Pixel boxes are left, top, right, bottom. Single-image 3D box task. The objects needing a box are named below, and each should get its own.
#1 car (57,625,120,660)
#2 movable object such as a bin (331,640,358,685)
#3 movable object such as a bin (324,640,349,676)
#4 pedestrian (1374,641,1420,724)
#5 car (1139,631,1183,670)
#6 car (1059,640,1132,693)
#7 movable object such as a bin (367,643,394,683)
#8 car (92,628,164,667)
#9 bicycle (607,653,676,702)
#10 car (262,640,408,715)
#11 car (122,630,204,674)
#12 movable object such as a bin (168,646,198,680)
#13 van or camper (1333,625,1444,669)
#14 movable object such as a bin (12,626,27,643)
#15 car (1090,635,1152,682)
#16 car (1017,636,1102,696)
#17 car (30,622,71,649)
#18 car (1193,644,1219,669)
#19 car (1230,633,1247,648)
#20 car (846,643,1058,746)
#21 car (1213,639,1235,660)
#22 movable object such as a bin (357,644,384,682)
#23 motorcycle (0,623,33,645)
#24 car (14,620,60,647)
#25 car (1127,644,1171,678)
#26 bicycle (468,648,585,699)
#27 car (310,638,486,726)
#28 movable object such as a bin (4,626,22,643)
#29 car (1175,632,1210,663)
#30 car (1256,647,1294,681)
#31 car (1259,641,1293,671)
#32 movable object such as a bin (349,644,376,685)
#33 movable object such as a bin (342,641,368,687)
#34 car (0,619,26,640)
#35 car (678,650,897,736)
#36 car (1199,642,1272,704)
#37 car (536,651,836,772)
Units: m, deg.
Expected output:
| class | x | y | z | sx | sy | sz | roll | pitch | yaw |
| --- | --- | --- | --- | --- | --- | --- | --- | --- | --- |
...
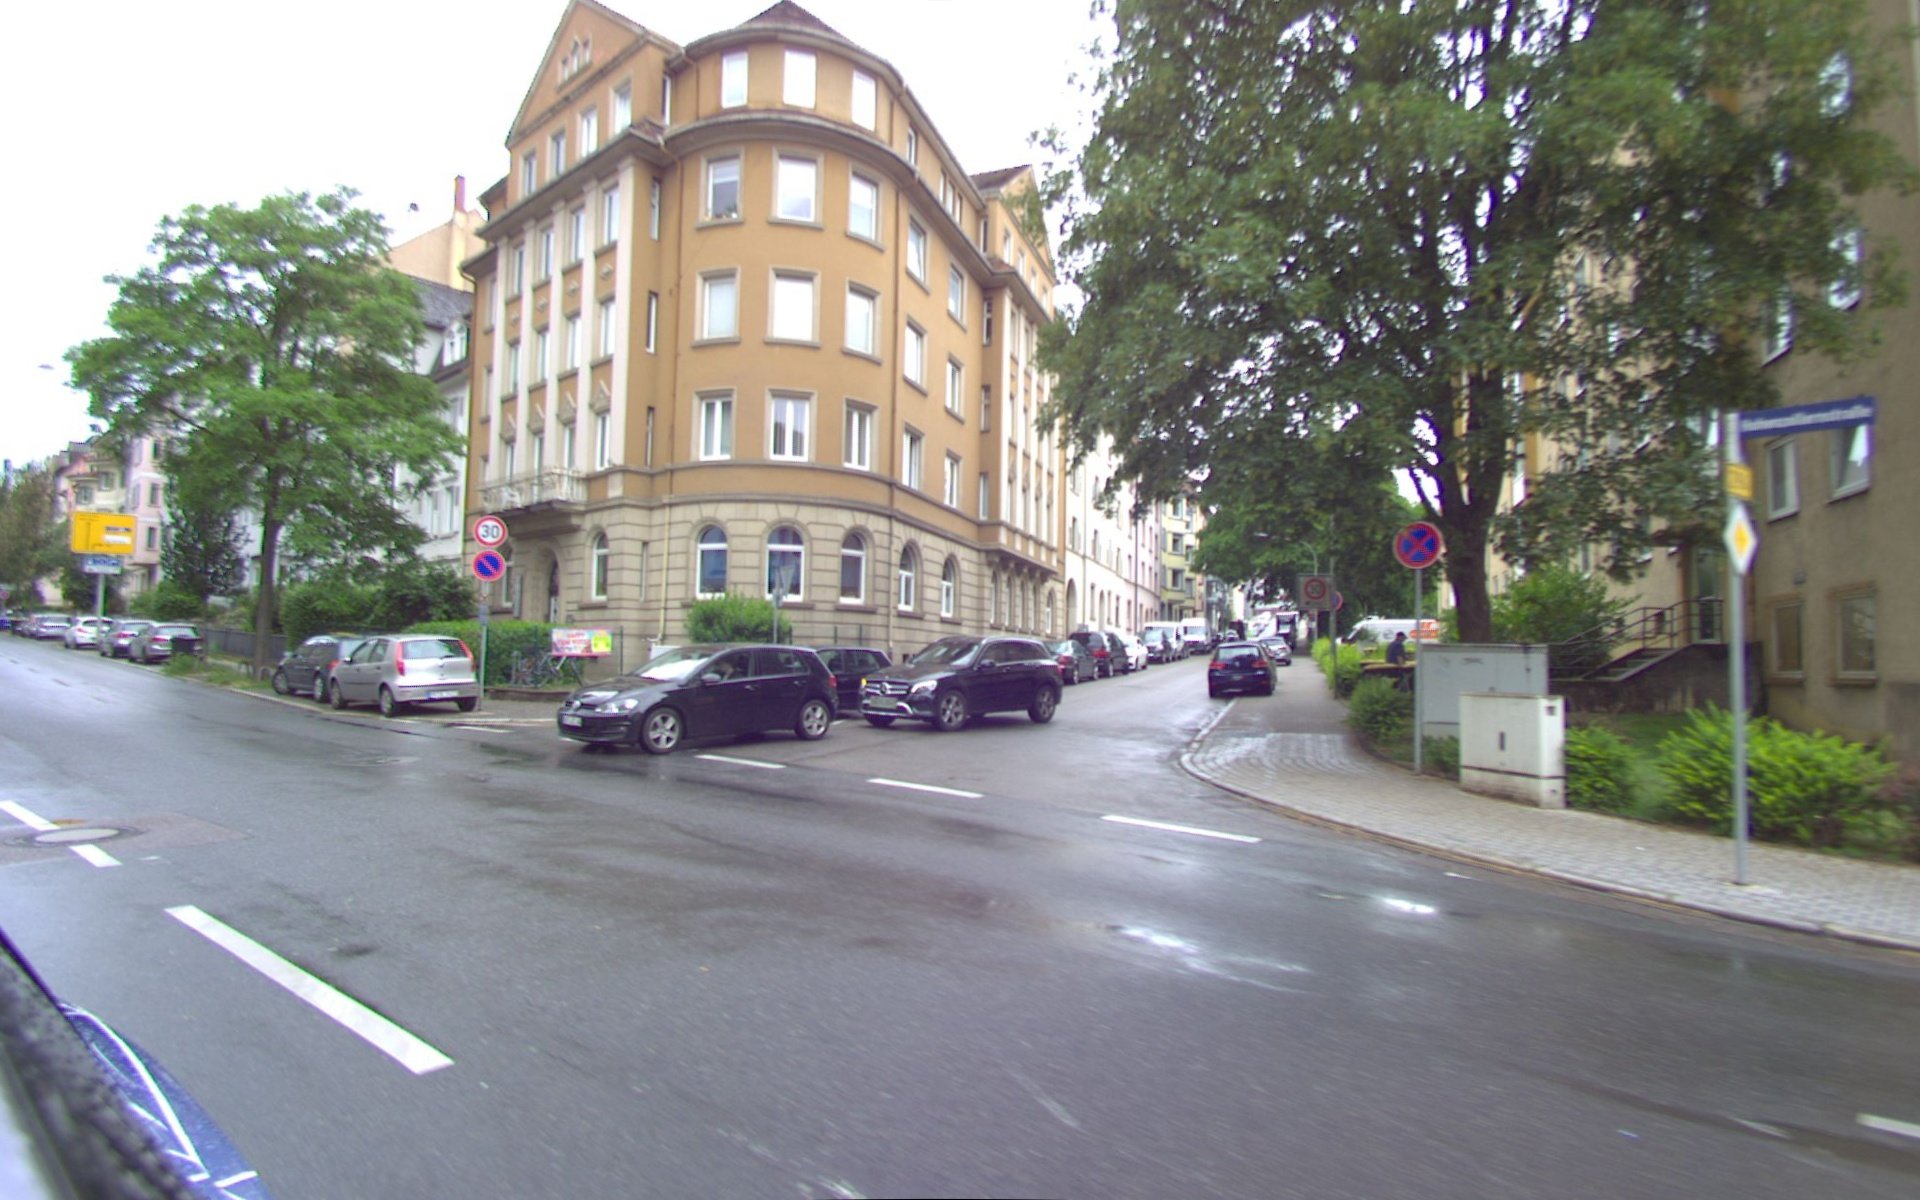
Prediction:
| class | x | y | z | sx | sy | sz | roll | pitch | yaw |
| --- | --- | --- | --- | --- | --- | --- | --- | --- | --- |
| car | -40.171 | 1.941 | 46.615 | 3.795 | 1.519 | 1.628 | -1 | -3 | 41 |
| movable object such as a bin | -18.359 | 1.860 | 30.178 | 0.650 | 1.318 | 0.435 | -1 | -4 | 42 |
| movable object such as a bin | -18.958 | 1.763 | 30.778 | 0.650 | 1.047 | 0.435 | -1 | -4 | 42 |
| pedestrian | 9.270 | 1.734 | 21.483 | 0.813 | 1.695 | 0.623 | -2 | -1 | 23 |
| car | 11.658 | 2.879 | 58.564 | 1.985 | 2.029 | 3.974 | 1 | 0 | 19 |
| car | 5.220 | 2.477 | 38.568 | 1.836 | 1.741 | 3.971 | 1 | 0 | 21 |
| movable object such as a bin | -16.176 | 1.745 | 28.227 | 0.589 | 1.089 | 0.435 | -1 | -4 | 42 |
| car | -32.616 | 1.852 | 39.645 | 3.909 | 1.401 | 1.664 | -1 | -3 | 43 |
| bicycle | -7.104 | 1.730 | 22.672 | 0.797 | 1.019 | 1.700 | 1 | -4 | 8 |
| car | -14.123 | 1.688 | 22.791 | 3.940 | 1.465 | 1.636 | 0 | -4 | 41 |
| car | -28.194 | 1.824 | 35.749 | 3.936 | 1.401 | 1.664 | 0 | -3 | 43 |
| movable object such as a bin | -24.759 | 2.010 | 32.247 | 0.600 | 1.066 | 0.623 | 1 | -3 | 43 |
| van or camper | 28.053 | 3.059 | 66.502 | 6.293 | 2.653 | 2.282 | 1 | 0 | 12 |
| movable object such as a bin | -60.306 | 2.232 | 64.889 | 0.480 | 1.066 | 0.522 | 1 | 0 | 21 |
| car | 6.975 | 2.471 | 43.592 | 1.836 | 1.741 | 3.971 | 1 | 0 | 21 |
| car | 3.401 | 2.164 | 34.109 | 1.836 | 1.741 | 3.971 | 1 | 0 | 21 |
| car | -51.760 | 1.996 | 57.559 | 1.582 | 1.462 | 3.891 | 2 | -2 | -44 |
| car | 22.845 | 5.225 | 93.908 | 1.985 | 2.029 | 3.974 | 1 | 0 | 19 |
| car | 34.613 | 5.035 | 125.719 | 1.765 | 1.635 | 3.815 | 1 | 0 | 19 |
| car | -0.053 | 1.648 | 18.294 | 1.693 | 1.594 | 3.769 | 1 | -3 | 42 |
| car | 28.291 | 5.298 | 108.472 | 1.985 | 2.029 | 3.974 | 1 | 0 | 19 |
| movable object such as a bin | -16.727 | 1.799 | 28.732 | 0.650 | 1.048 | 0.421 | -1 | -4 | 42 |
| motorcycle | -59.436 | 2.114 | 63.474 | 1.783 | 1.325 | 0.743 | 3 | -3 | -6 |
| car | -55.375 | 2.011 | 60.725 | 3.886 | 1.407 | 1.583 | 1 | -3 | 42 |
| car | 9.899 | 3.166 | 52.957 | 1.789 | 1.519 | 3.587 | 1 | 0 | 18 |
| bicycle | -9.631 | 1.634 | 22.594 | 0.804 | 1.054 | 2.323 | 0 | -4 | 33 |
| car | -10.936 | 1.525 | 19.603 | 3.835 | 1.465 | 1.616 | 0 | -3 | 39 |
| movable object such as a bin | -61.374 | 2.217 | 65.598 | 0.483 | 1.066 | 0.815 | 1 | 0 | 43 |
| car | 16.708 | 3.369 | 72.588 | 1.985 | 2.029 | 3.974 | 1 | 0 | 19 |
| car | 16.142 | 3.254 | 51.902 | 1.788 | 1.519 | 3.589 | 1 | 0 | 17 |
| car | 18.160 | 3.187 | 58.297 | 1.788 | 1.519 | 3.590 | 1 | 0 | 17 |
| movable object such as a bin | -17.236 | 1.866 | 29.203 | 0.657 | 1.139 | 0.435 | -1 | -4 | 42 |
| movable object such as a bin | -17.781 | 1.868 | 29.744 | 0.609 | 1.318 | 0.435 | -1 | -4 | 42 |
| car | -70.669 | 2.139 | 75.040 | 4.602 | 1.396 | 1.660 | 1 | -3 | 43 |
| car | -3.226 | 1.754 | 19.369 | 1.743 | 1.400 | 3.772 | 1 | -3 | 45 |
| car | 7.797 | 2.029 | 28.873 | 1.670 | 1.519 | 3.597 | -2 | -1 | 11 |
| car | -3.778 | 1.464 | 14.410 | 1.742 | 1.400 | 3.775 | 1 | -2 | 41 |
